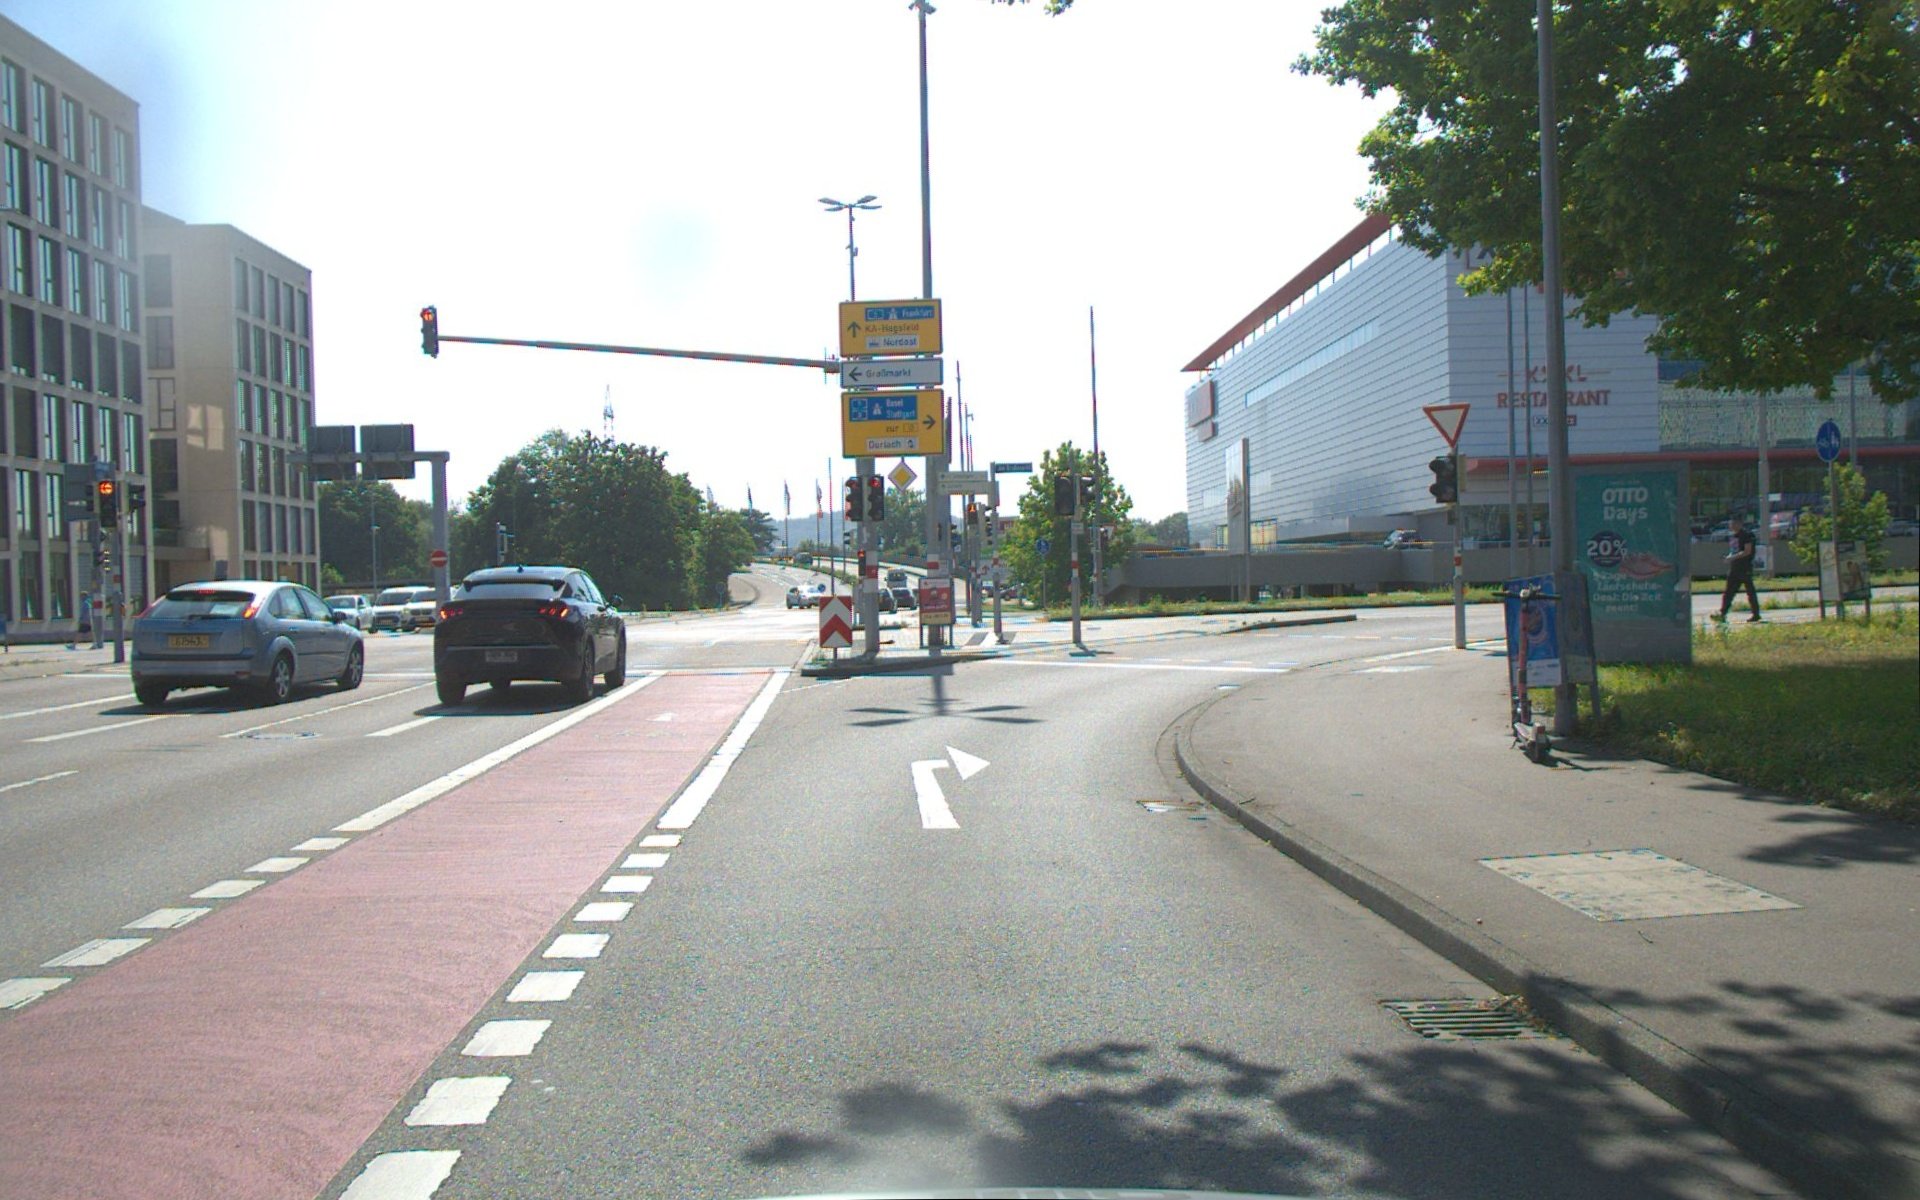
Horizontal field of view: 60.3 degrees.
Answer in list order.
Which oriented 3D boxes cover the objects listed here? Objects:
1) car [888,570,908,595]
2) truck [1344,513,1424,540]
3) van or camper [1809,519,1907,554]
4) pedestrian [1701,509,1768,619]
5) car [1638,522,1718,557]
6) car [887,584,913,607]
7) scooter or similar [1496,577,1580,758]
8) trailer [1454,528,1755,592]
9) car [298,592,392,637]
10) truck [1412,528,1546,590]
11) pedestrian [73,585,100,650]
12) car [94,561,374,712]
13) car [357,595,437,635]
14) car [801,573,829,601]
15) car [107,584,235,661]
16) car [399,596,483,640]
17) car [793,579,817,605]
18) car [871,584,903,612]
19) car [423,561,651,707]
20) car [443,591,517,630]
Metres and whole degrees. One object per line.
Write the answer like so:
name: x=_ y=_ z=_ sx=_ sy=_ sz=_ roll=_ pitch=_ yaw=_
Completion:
car: x=-6.171 y=-1.781 z=165.321 sx=1.953 sy=2.361 sz=4.000 roll=0 pitch=2 yaw=-1
truck: x=33.244 y=-5.728 z=129.712 sx=5.789 sy=2.048 sz=2.000 roll=0 pitch=2 yaw=-1
van or camper: x=53.944 y=-3.810 z=99.407 sx=4.885 sy=2.048 sz=1.999 roll=0 pitch=2 yaw=-4
pedestrian: x=13.082 y=-0.602 z=27.963 sx=0.616 sy=1.800 sz=0.802 roll=-2 pitch=0 yaw=-14
car: x=43.178 y=-3.616 z=99.496 sx=3.909 sy=2.048 sz=1.999 roll=0 pitch=2 yaw=-5
car: x=-3.942 y=-0.300 z=109.037 sx=1.654 sy=1.382 sz=4.000 roll=0 pitch=2 yaw=-1
scooter or similar: x=4.257 y=0.465 z=12.232 sx=0.343 sy=1.255 sz=1.312 roll=-2 pitch=1 yaw=10
trailer: x=26.253 y=-1.646 z=67.538 sx=11.633 sy=2.512 sz=1.999 roll=0 pitch=2 yaw=-3
car: x=-22.768 y=0.520 z=61.426 sx=1.853 sy=1.489 sz=4.001 roll=-2 pitch=1 yaw=1
truck: x=21.077 y=-1.679 z=67.266 sx=4.783 sy=2.466 sz=1.999 roll=0 pitch=2 yaw=-3
pedestrian: x=-28.128 y=0.565 z=53.283 sx=0.747 sy=2.048 sz=0.926 roll=0 pitch=2 yaw=-28
car: x=-9.275 y=0.405 z=21.530 sx=1.954 sy=1.713 sz=3.998 roll=-2 pitch=1 yaw=-2
car: x=-23.298 y=0.593 z=68.578 sx=1.778 sy=1.489 sz=4.001 roll=-2 pitch=1 yaw=1
car: x=-11.475 y=-1.033 z=131.024 sx=1.953 sy=2.048 sz=3.980 roll=0 pitch=2 yaw=-3
car: x=-15.255 y=0.405 z=32.106 sx=1.191 sy=1.354 sz=2.799 roll=0 pitch=2 yaw=-2
car: x=-19.625 y=0.656 z=62.669 sx=1.778 sy=1.489 sz=4.001 roll=-2 pitch=1 yaw=1
car: x=-11.463 y=-0.602 z=122.446 sx=1.725 sy=1.825 sz=3.344 roll=-2 pitch=1 yaw=-5
car: x=-4.001 y=-0.104 z=90.820 sx=1.654 sy=1.382 sz=4.000 roll=0 pitch=2 yaw=-1
car: x=-5.411 y=0.363 z=21.753 sx=1.770 sy=1.668 sz=4.459 roll=-2 pitch=1 yaw=0
car: x=-20.158 y=0.438 z=69.619 sx=1.778 sy=1.489 sz=4.001 roll=-2 pitch=1 yaw=1
